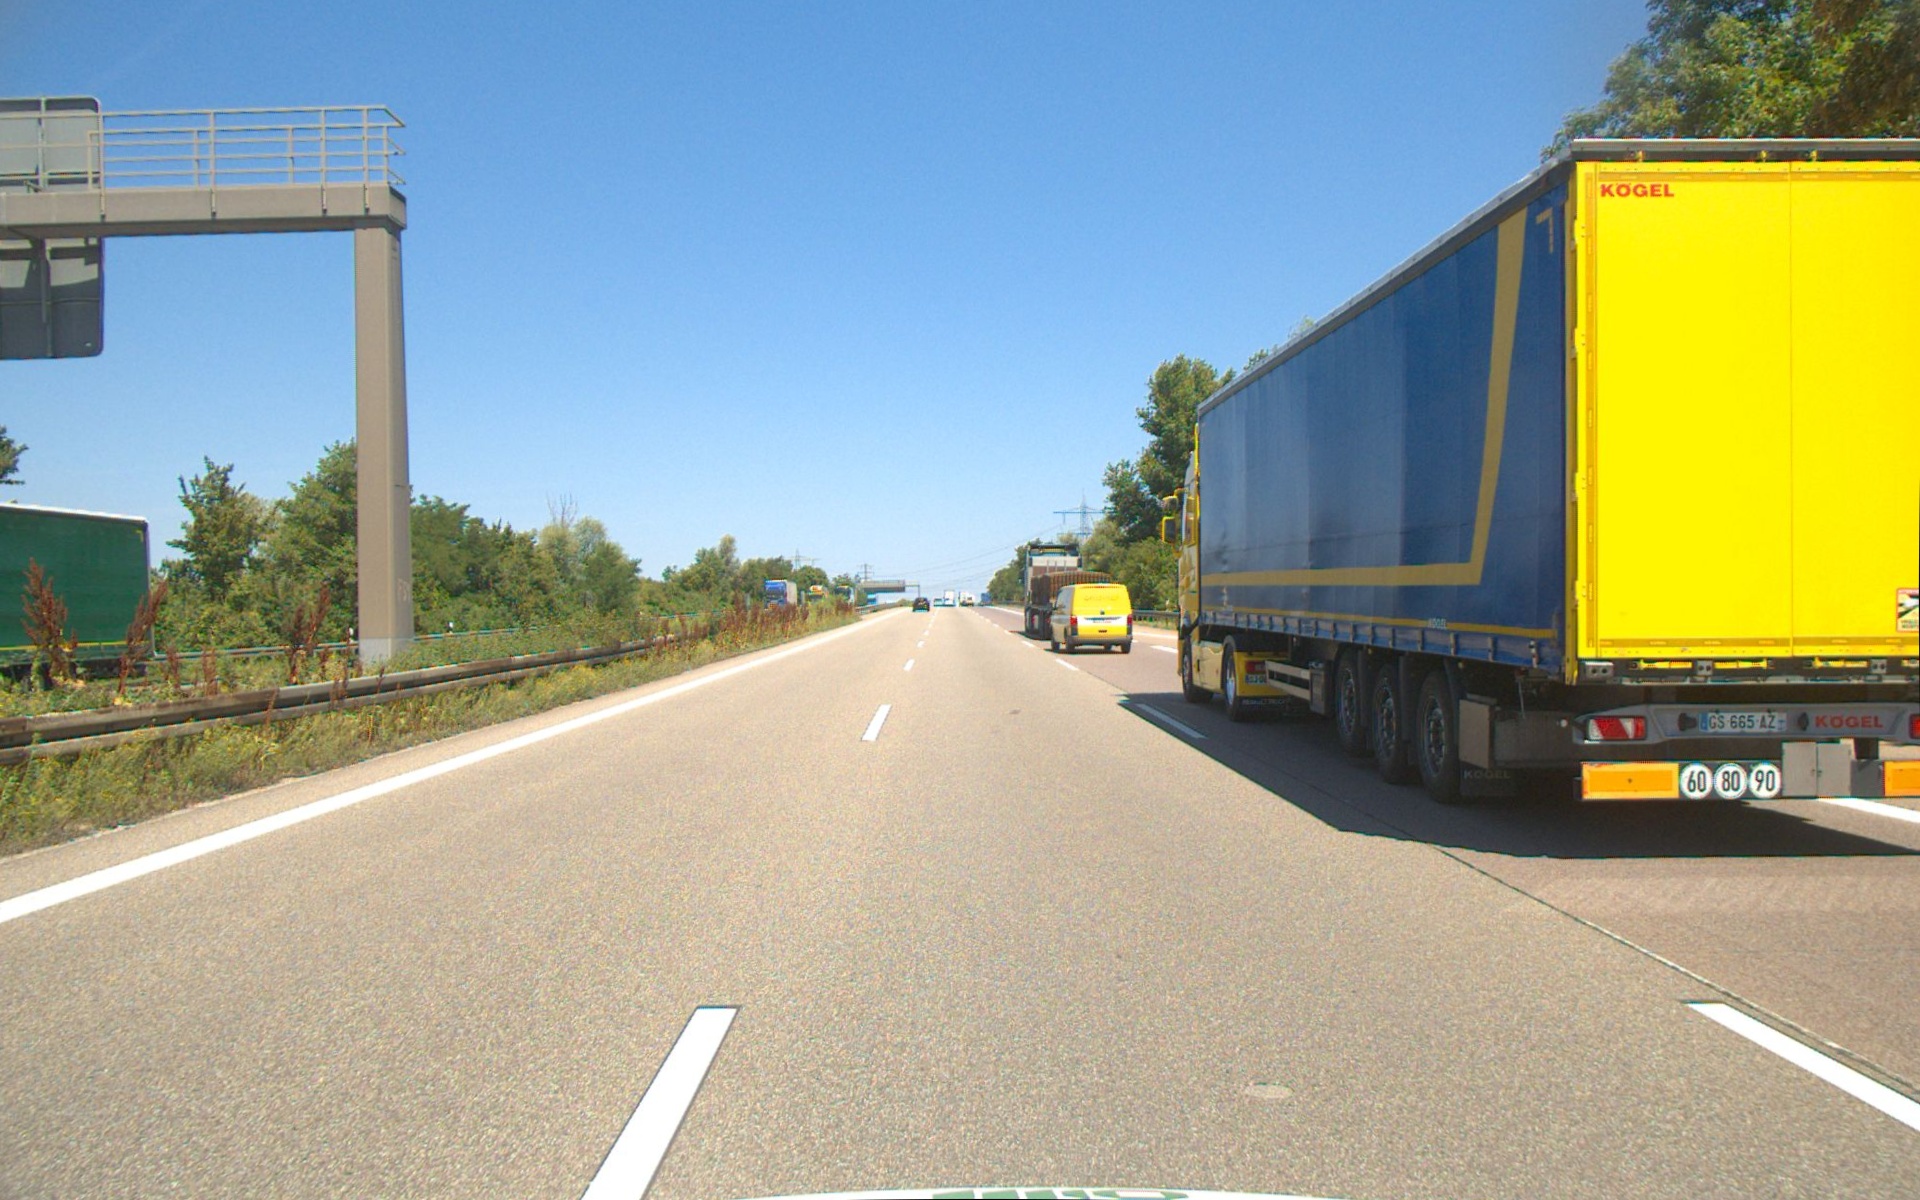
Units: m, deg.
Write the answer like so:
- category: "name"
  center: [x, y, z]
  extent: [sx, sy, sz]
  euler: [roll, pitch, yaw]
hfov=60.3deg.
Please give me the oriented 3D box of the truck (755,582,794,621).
- category: "truck"
  center: [-22.510, 0.190, 201.862]
  extent: [2.895, 4.418, 17.466]
  euler: [-2, 0, -1]

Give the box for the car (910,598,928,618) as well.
- category: "car"
  center: [-4.217, 0.849, 171.401]
  extent: [1.755, 2.049, 3.887]
  euler: [0, -1, 0]

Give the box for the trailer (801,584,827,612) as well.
- category: "trailer"
  center: [-22.312, -0.353, 252.739]
  extent: [2.862, 4.036, 11.648]
  euler: [-3, 0, -1]

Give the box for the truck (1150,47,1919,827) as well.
- category: "truck"
  center: [4.610, -0.860, 17.674]
  extent: [2.787, 4.332, 16.786]
  euler: [-1, -1, -1]

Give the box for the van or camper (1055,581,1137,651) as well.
- category: "van or camper"
  center: [3.907, 0.431, 48.236]
  extent: [1.953, 1.942, 4.971]
  euler: [0, 0, 0]

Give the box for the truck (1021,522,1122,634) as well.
- category: "truck"
  center: [4.297, -0.720, 67.471]
  extent: [2.909, 4.026, 16.611]
  euler: [0, -1, 0]

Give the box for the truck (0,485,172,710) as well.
- category: "truck"
  center: [-20.200, -0.014, 30.409]
  extent: [2.895, 4.418, 18.237]
  euler: [-2, 0, -1]
